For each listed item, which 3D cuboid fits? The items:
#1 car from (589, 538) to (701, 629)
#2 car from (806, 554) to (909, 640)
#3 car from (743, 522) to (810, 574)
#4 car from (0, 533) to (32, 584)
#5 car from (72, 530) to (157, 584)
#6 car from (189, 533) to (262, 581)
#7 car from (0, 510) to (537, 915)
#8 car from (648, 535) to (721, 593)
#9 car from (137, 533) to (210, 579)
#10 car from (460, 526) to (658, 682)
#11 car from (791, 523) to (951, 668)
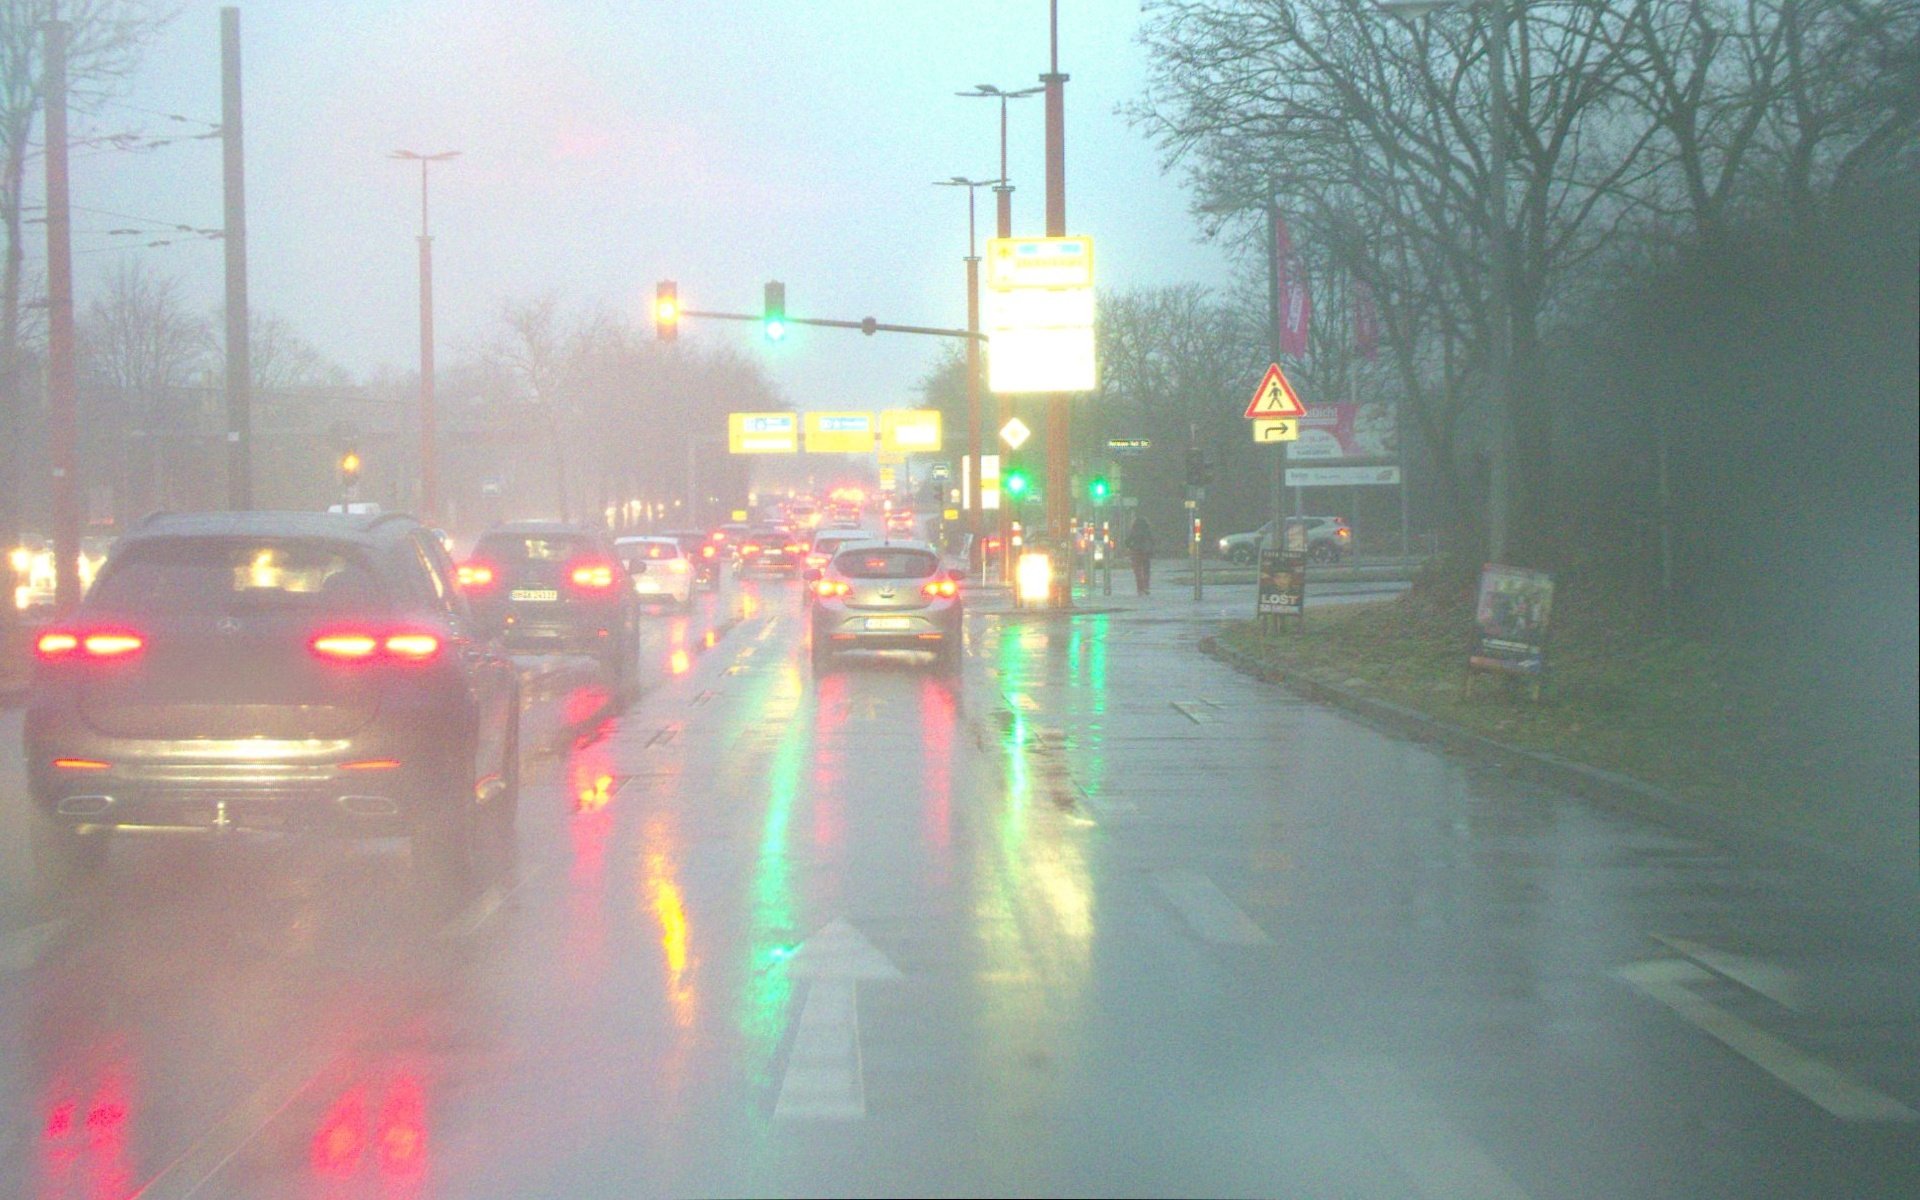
[{"bbox_3d":[-5.906,-0.342,64.772,1.822,1.642,4.000,0,1,-1],"label":"car"},{"bbox_3d":[-2.071,-0.072,69.427,1.993,1.656,4.000,1,1,-2],"label":"car"},{"bbox_3d":[-5.378,-1.535,100.980,1.822,1.499,4.000,0,1,-1],"label":"car"},{"bbox_3d":[-29.714,-1.282,105.186,1.618,1.490,4.017,-1,2,-2],"label":"car"},{"bbox_3d":[-25.577,-1.315,104.104,1.769,1.548,3.948,-1,2,-3],"label":"car"},{"bbox_3d":[-22.608,-1.339,105.842,1.652,1.415,3.327,-1,2,-3],"label":"car"},{"bbox_3d":[-3.152,0.416,16.304,1.822,1.642,4.467,0,1,-1],"label":"car"},{"bbox_3d":[-6.631,-0.881,82.984,1.505,1.334,4.000,0,1,-1],"label":"car"},{"bbox_3d":[-25.475,-1.436,111.498,1.621,1.422,3.910,-1,2,-3],"label":"car"},{"bbox_3d":[-4.439,-0.001,38.531,1.822,1.642,4.000,0,1,-1],"label":"car"},{"bbox_3d":[-1.076,-0.098,41.867,1.822,1.642,4.467,-1,1,-1],"label":"car"}]
